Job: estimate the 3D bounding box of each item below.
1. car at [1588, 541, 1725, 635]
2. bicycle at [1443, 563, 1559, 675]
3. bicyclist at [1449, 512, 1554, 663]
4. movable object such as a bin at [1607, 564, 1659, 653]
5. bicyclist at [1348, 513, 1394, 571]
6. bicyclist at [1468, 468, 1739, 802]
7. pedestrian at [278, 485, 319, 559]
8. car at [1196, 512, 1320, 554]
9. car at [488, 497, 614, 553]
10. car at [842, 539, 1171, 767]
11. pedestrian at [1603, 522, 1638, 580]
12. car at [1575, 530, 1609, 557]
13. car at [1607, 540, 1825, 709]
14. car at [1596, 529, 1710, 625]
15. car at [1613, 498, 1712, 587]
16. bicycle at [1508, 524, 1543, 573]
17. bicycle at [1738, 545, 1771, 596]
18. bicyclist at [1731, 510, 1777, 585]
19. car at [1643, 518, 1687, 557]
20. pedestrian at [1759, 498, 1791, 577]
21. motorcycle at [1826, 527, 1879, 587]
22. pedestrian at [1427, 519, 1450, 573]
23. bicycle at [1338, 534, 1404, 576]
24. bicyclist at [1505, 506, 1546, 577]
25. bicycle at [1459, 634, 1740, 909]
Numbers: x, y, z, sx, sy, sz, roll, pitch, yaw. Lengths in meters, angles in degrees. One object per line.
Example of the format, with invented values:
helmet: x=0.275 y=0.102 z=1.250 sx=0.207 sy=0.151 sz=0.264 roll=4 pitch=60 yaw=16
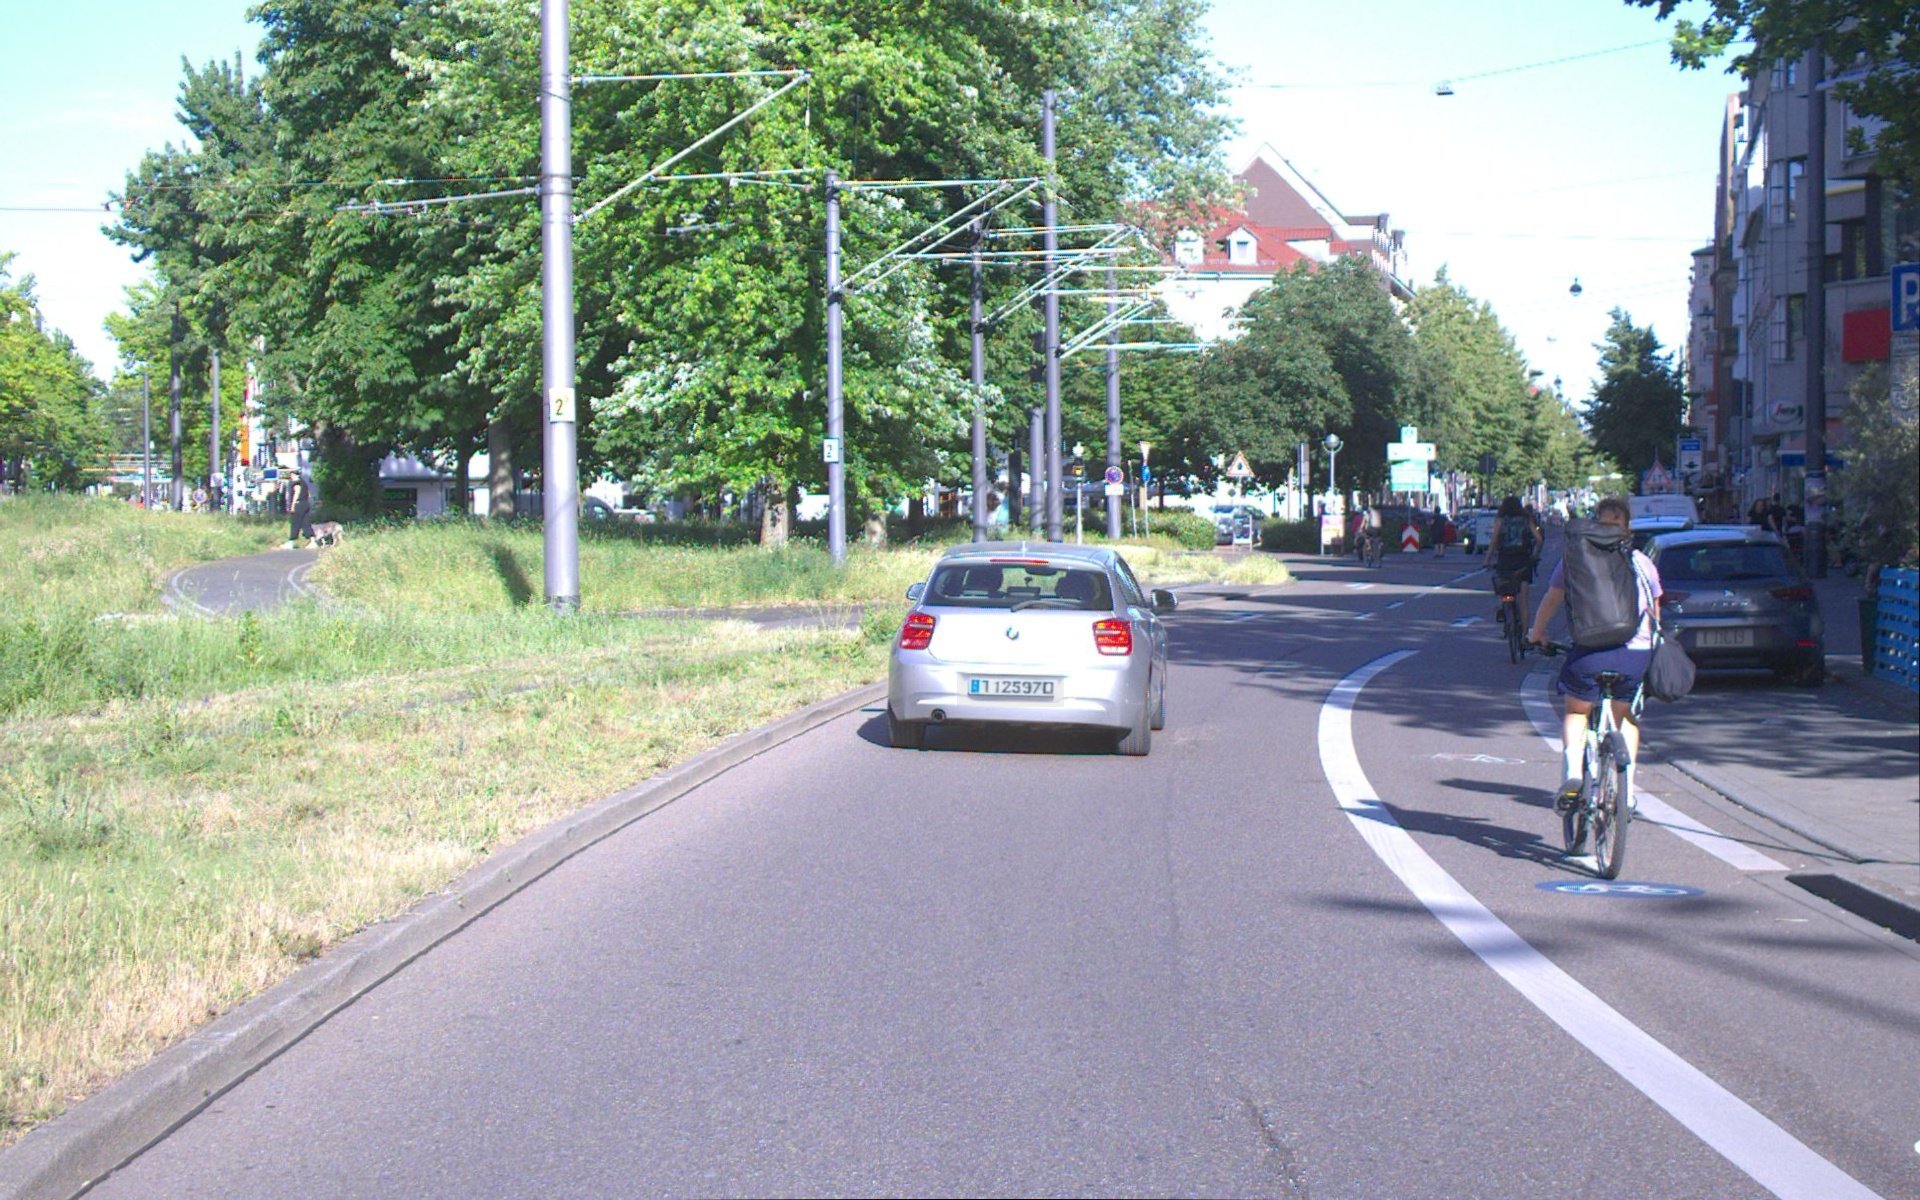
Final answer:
car: x=10.860 y=-0.190 z=53.387 sx=1.852 sy=1.339 sz=4.597 roll=2 pitch=1 yaw=14
bicycle: x=5.979 y=0.195 z=38.086 sx=0.819 sy=1.181 sz=1.965 roll=2 pitch=1 yaw=-4
bicyclist: x=5.993 y=-0.140 z=38.091 sx=0.939 sy=1.628 sz=0.935 roll=2 pitch=0 yaw=-3
movable object such as a bin: x=8.351 y=0.107 z=42.699 sx=0.573 sy=1.078 sz=0.570 roll=2 pitch=0 yaw=8
bicyclist: x=10.891 y=-1.549 z=91.155 sx=0.928 sy=1.502 sz=0.826 roll=1 pitch=0 yaw=-15
bicyclist: x=2.975 y=0.154 z=15.996 sx=1.038 sy=1.479 sz=0.988 roll=2 pitch=0 yaw=1
pedestrian: x=-14.462 y=-1.702 z=75.165 sx=0.673 sy=1.610 sz=0.555 roll=1 pitch=1 yaw=-41
car: x=13.839 y=-3.116 z=159.833 sx=5.262 sy=1.793 sz=2.164 roll=1 pitch=1 yaw=-15
car: x=-18.140 y=-3.332 z=152.472 sx=5.334 sy=2.306 sz=2.001 roll=1 pitch=0 yaw=-11
car: x=0.425 y=0.325 z=24.408 sx=1.994 sy=1.418 sz=4.196 roll=2 pitch=1 yaw=5
pedestrian: x=19.692 y=-1.465 z=102.507 sx=0.667 sy=1.693 sz=0.805 roll=1 pitch=0 yaw=-20
car: x=38.672 y=-3.434 z=210.426 sx=1.871 sy=1.550 sz=3.998 roll=2 pitch=1 yaw=12
car: x=7.132 y=0.186 z=32.782 sx=1.766 sy=1.433 sz=4.582 roll=0 pitch=2 yaw=9
car: x=11.713 y=-0.378 z=57.967 sx=1.672 sy=1.513 sz=4.196 roll=2 pitch=1 yaw=14
car: x=15.210 y=-1.223 z=74.560 sx=1.994 sy=1.806 sz=4.307 roll=2 pitch=1 yaw=11
bicycle: x=11.722 y=-1.056 z=71.203 sx=0.653 sy=0.955 sz=2.697 roll=2 pitch=1 yaw=10
bicycle: x=14.308 y=-0.534 z=61.911 sx=0.534 sy=0.888 sz=2.069 roll=2 pitch=1 yaw=13
bicyclist: x=14.294 y=-0.938 z=61.882 sx=0.758 sy=1.322 sz=0.993 roll=2 pitch=0 yaw=13
car: x=32.246 y=-2.834 z=157.296 sx=1.900 sy=1.669 sz=4.822 roll=2 pitch=1 yaw=11
pedestrian: x=19.477 y=-1.487 z=82.151 sx=0.671 sy=1.850 sz=0.610 roll=-2 pitch=-1 yaw=15
motorcycle: x=17.907 y=-0.862 z=68.967 sx=0.764 sy=1.151 sz=2.045 roll=-2 pitch=-1 yaw=21
pedestrian: x=14.772 y=-1.660 z=106.143 sx=0.636 sy=1.666 sz=0.692 roll=1 pitch=0 yaw=12
bicycle: x=10.880 y=-1.198 z=91.120 sx=0.809 sy=1.065 sz=2.584 roll=1 pitch=1 yaw=-15
bicyclist: x=11.753 y=-1.209 z=71.393 sx=0.786 sy=1.448 sz=1.095 roll=2 pitch=0 yaw=10
bicycle: x=2.945 y=0.758 z=16.083 sx=0.885 sy=1.132 sz=2.229 roll=2 pitch=1 yaw=0
